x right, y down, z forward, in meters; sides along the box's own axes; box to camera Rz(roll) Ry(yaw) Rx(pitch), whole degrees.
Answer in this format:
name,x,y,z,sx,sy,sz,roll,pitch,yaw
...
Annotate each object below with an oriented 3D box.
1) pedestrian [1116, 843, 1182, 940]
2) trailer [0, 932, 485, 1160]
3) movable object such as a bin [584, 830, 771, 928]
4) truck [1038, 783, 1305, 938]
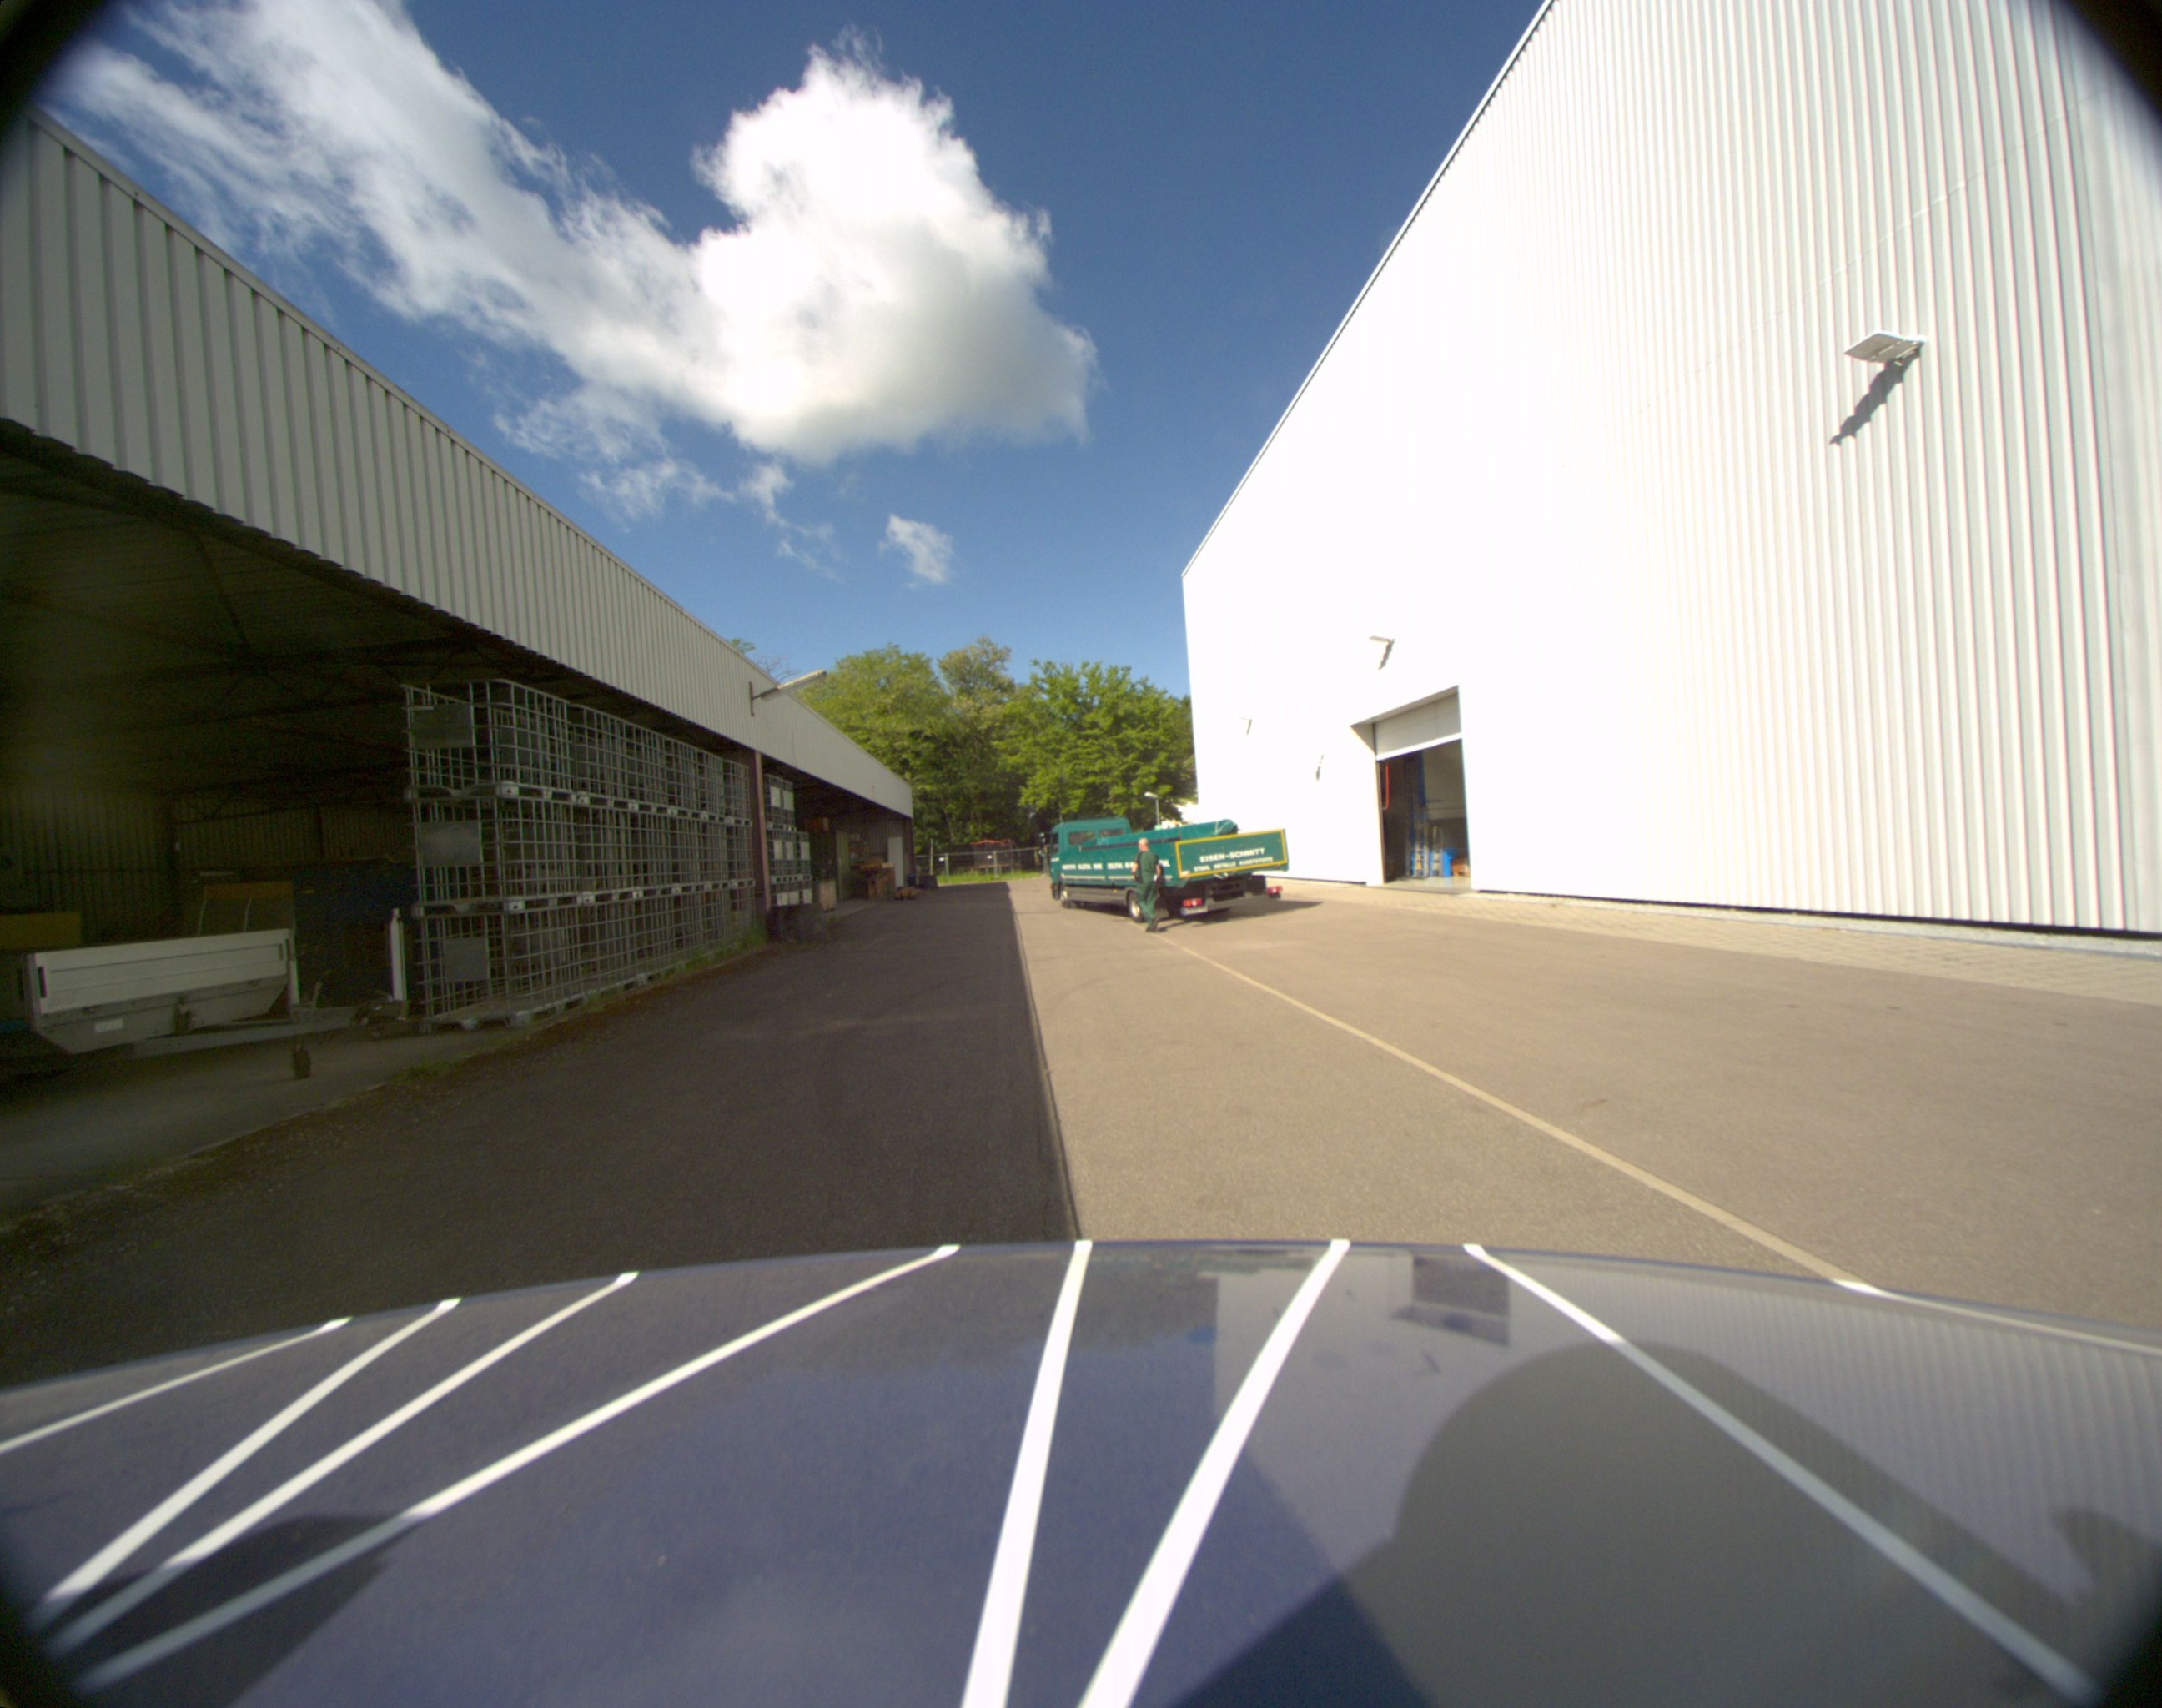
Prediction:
name,x,y,z,sx,sy,sz,roll,pitch,yaw
pedestrian,1.313,0.700,14.826,0.895,1.792,1.038,-2,1,-18
trailer,-8.233,1.441,5.617,5.752,1.126,2.007,-3,0,-7
movable object such as a bin,-12.375,0.746,23.602,4.629,2.706,1.999,-2,-1,-8
truck,1.550,0.199,19.151,2.590,2.701,9.681,-7,1,-18
